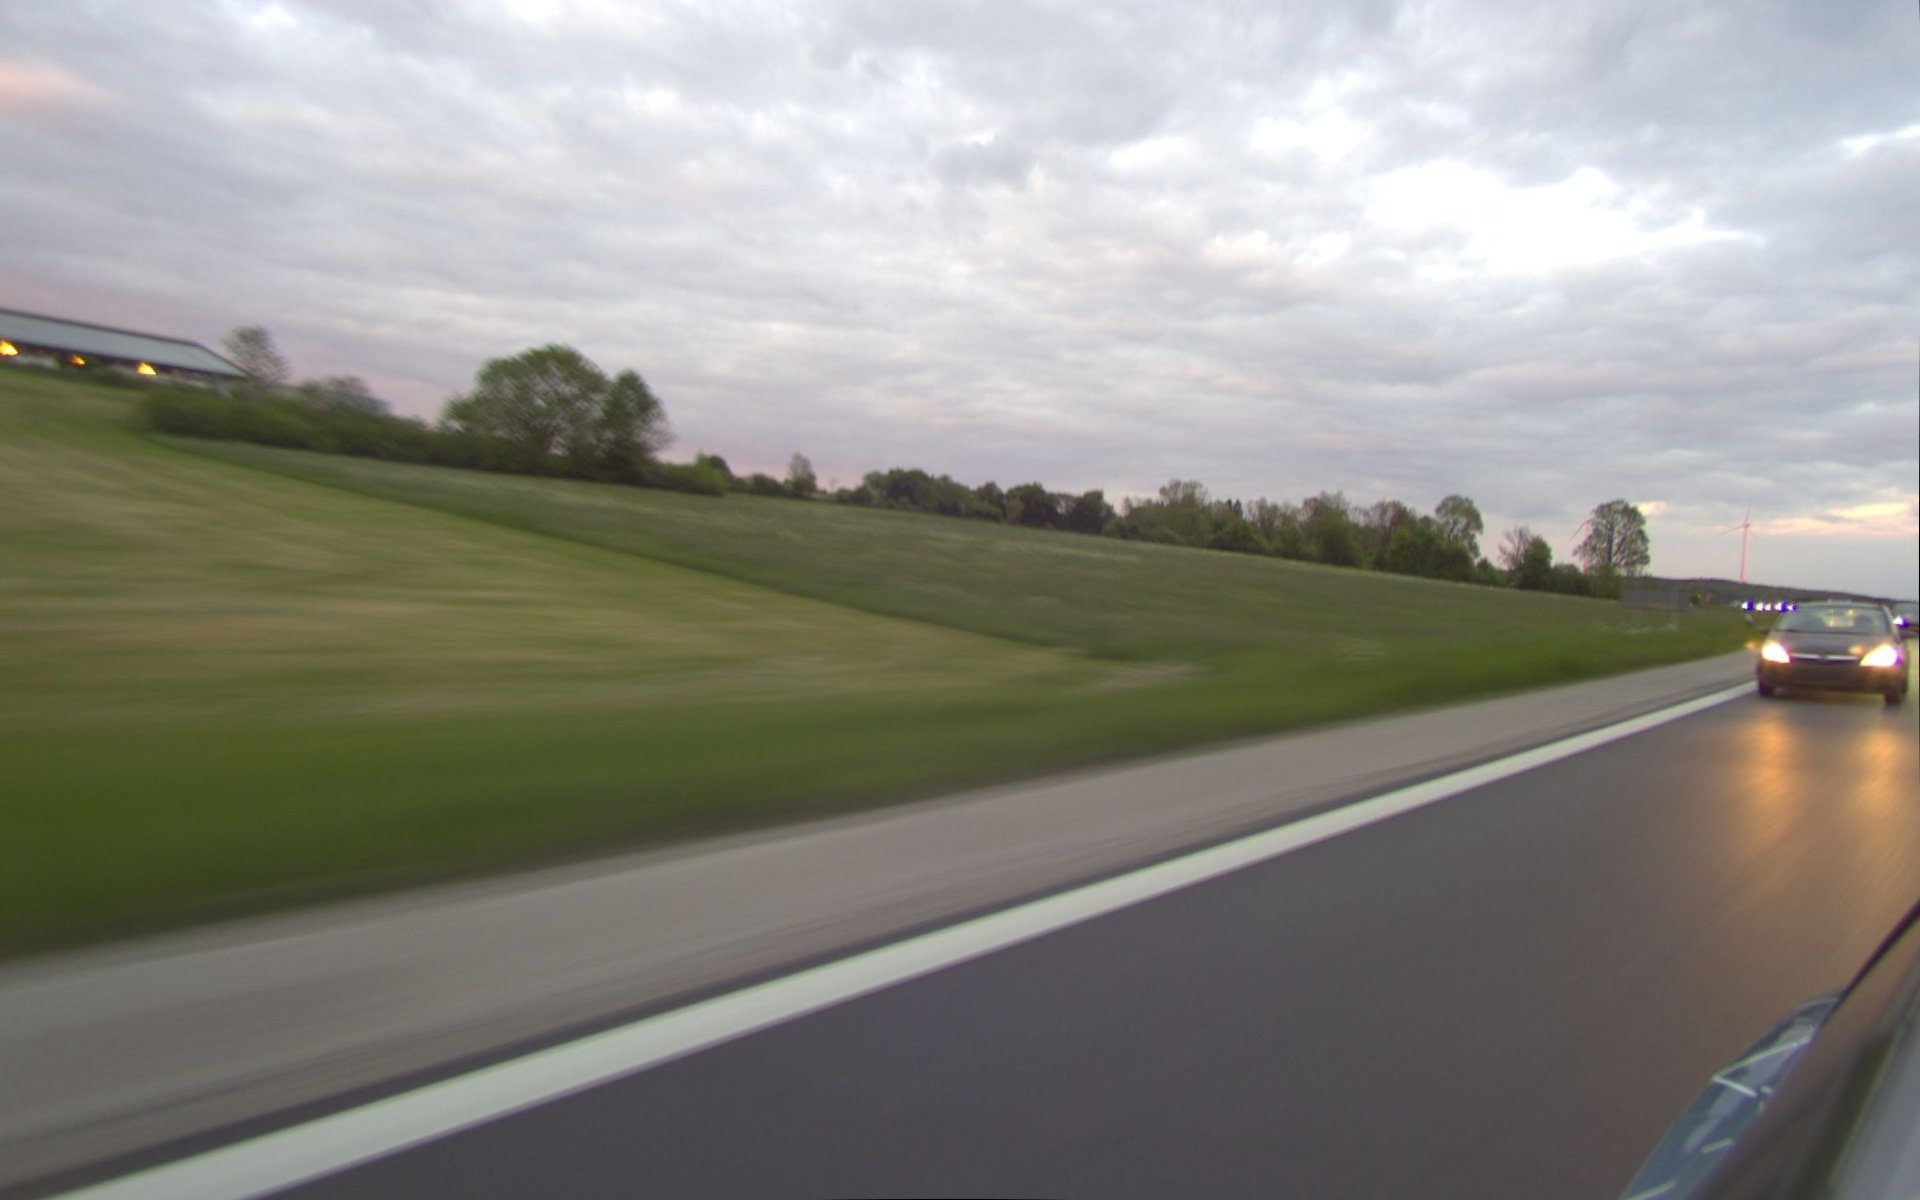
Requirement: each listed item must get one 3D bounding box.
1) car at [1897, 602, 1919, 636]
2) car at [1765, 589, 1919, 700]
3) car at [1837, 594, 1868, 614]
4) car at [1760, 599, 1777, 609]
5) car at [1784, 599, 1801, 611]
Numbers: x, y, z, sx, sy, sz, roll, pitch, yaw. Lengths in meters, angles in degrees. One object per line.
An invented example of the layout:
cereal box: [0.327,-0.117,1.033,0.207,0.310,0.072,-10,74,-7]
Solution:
car: [42.799,0.826,44.797,1.880,1.413,3.937,4,3,43]
car: [14.171,0.607,16.116,3.935,1.532,1.678,0,1,-45]
car: [90.289,0.363,102.442,1.910,1.860,3.948,3,2,36]
car: [139.736,0.651,174.968,1.791,1.665,4.046,1,2,33]
car: [128.573,0.760,156.268,1.794,1.665,4.039,2,2,37]
